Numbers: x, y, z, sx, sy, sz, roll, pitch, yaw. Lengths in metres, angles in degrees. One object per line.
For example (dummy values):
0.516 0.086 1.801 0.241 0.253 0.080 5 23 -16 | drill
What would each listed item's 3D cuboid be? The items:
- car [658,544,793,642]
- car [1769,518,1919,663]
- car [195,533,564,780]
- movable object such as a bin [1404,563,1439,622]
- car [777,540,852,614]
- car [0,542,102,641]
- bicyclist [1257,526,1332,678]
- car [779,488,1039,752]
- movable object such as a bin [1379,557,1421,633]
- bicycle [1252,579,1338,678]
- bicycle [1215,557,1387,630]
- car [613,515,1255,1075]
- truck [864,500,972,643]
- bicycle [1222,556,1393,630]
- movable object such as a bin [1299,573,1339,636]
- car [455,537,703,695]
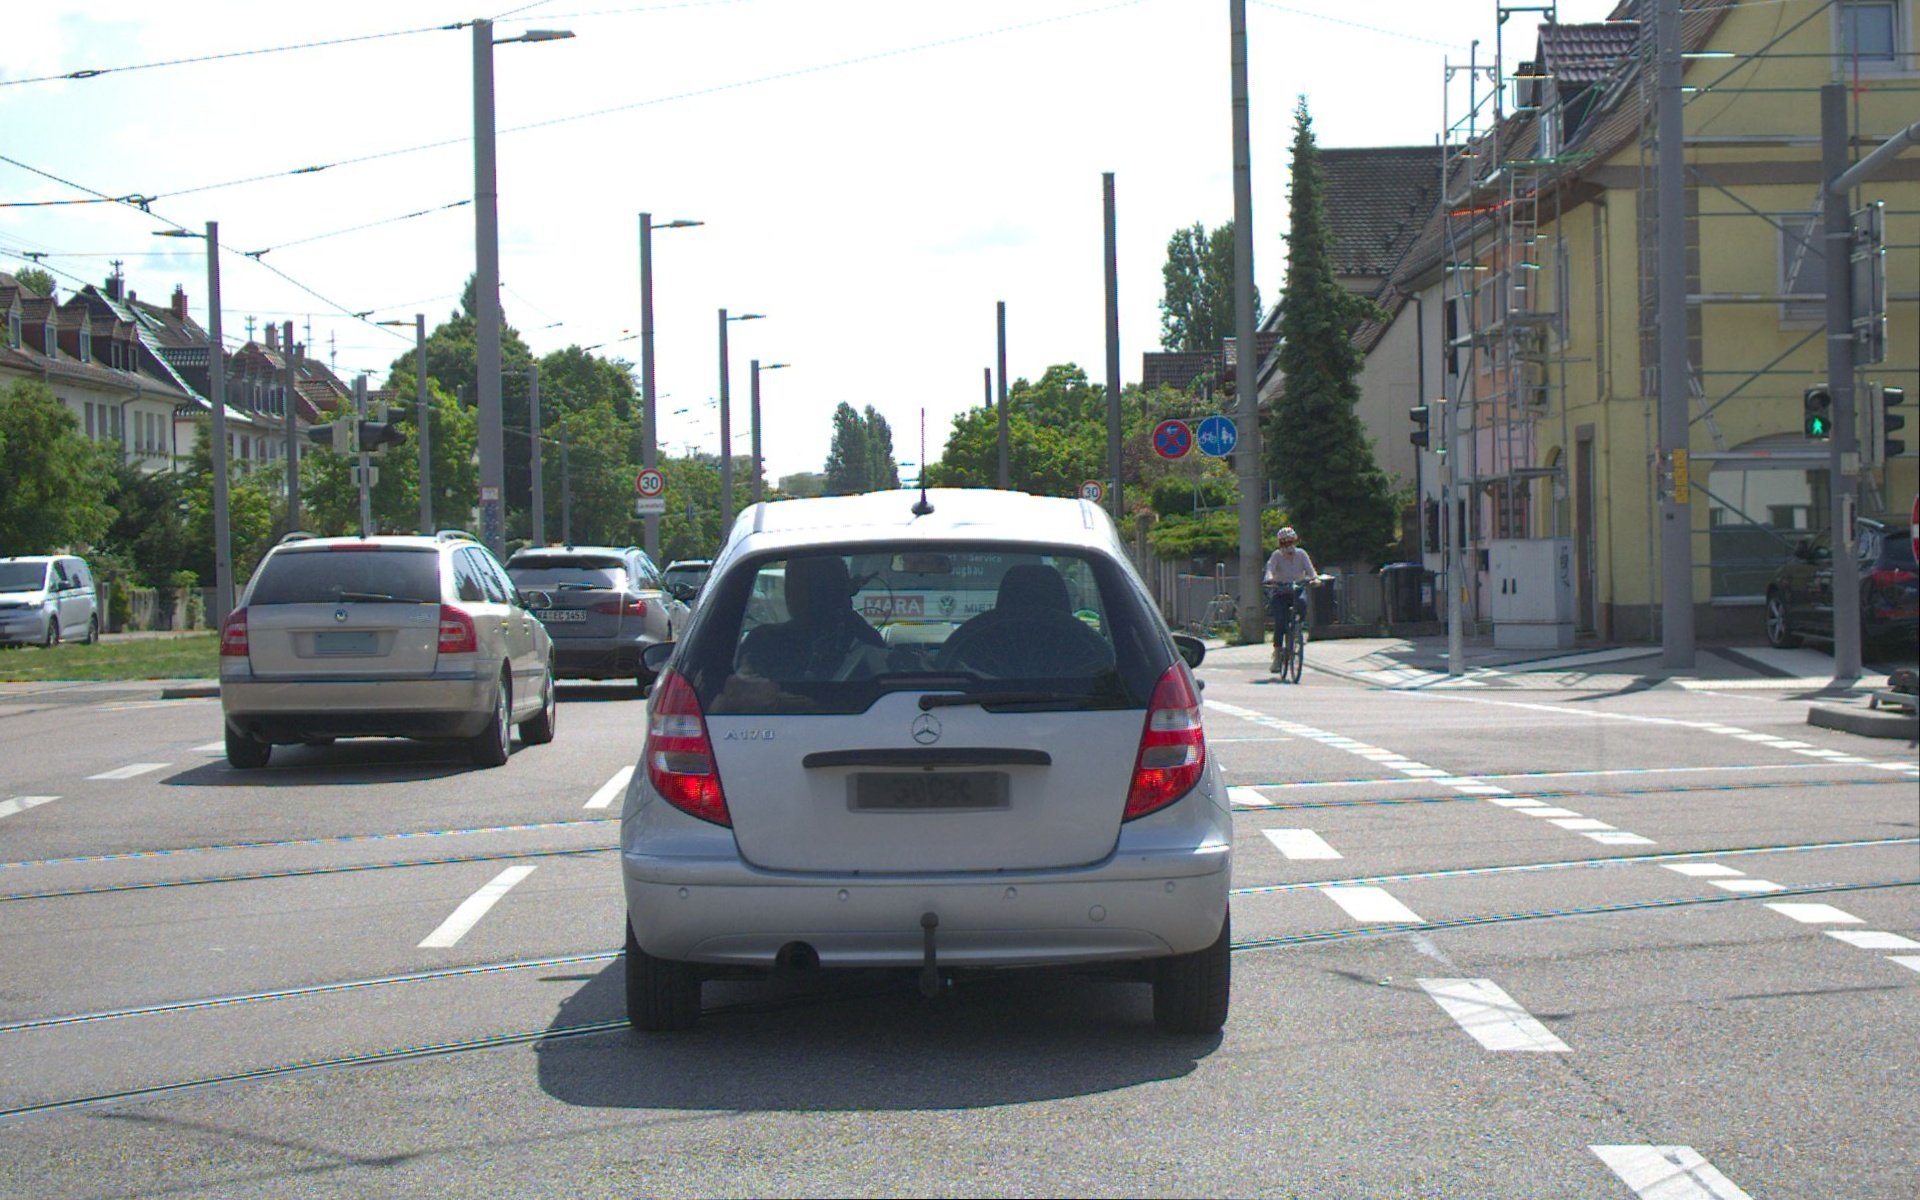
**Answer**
-3.448 -0.102 51.267 1.852 1.384 4.515 0 0 -2 | car
10.904 -0.109 39.988 1.993 1.590 4.131 0 0 0 | car
-3.693 0.295 22.527 1.731 1.444 4.123 0 1 0 | car
7.573 -0.125 56.462 0.468 0.943 0.558 -1 0 0 | movable object such as a bin
-3.690 -0.574 87.263 1.852 1.837 3.919 0 0 -2 | car
-17.911 -0.148 65.812 1.794 1.809 4.713 -2 0 -1 | car
3.846 0.023 39.605 0.650 1.732 0.984 0 0 -7 | bicyclist
-0.348 0.129 25.099 1.730 1.756 4.016 0 0 0 | car
6.509 -0.072 50.860 0.511 1.101 0.855 -1 0 0 | movable object such as a bin
3.840 0.322 39.534 0.650 1.114 1.588 0 0 -7 | bicycle
5.639 -0.107 56.919 2.726 1.116 0.691 -2 0 -1 | bicycle
-0.162 0.486 11.330 1.730 1.511 4.017 0 1 -3 | car
-0.834 -0.515 64.538 1.852 2.543 5.855 0 0 -2 | truck
5.672 -0.111 56.190 2.661 1.101 0.786 -2 0 -1 | bicycle
5.300 0.062 50.756 0.511 0.915 0.741 -1 0 0 | movable object such as a bin
-3.766 0.130 34.717 1.916 1.472 4.562 0 0 1 | car
